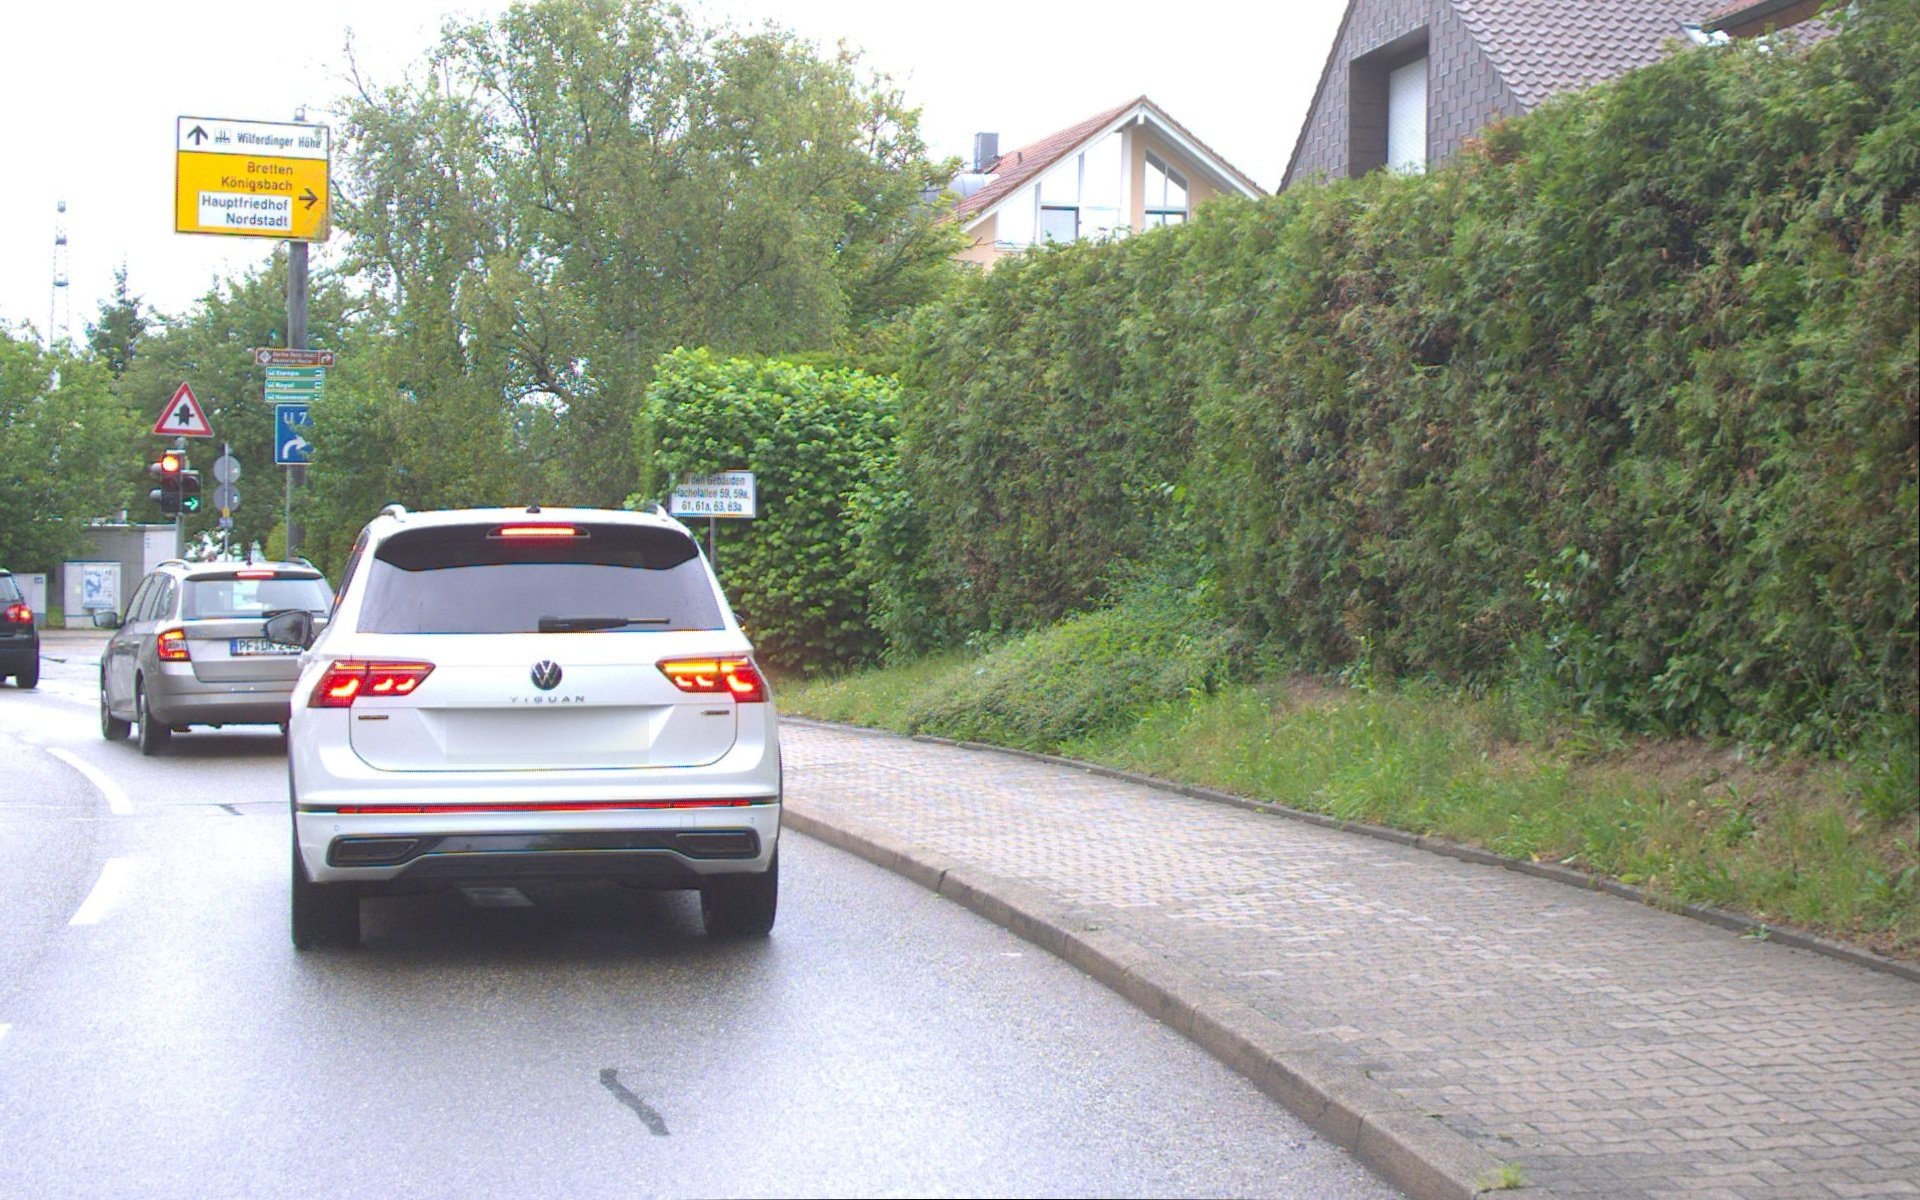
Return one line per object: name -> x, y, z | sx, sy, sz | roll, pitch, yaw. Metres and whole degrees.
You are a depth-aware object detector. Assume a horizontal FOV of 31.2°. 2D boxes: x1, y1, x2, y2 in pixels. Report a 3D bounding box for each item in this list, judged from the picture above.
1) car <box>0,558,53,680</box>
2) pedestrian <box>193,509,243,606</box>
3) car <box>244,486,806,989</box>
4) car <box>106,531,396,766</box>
car -> -12.303, 0.236, 41.947 | 1.850, 1.424, 4.001 | -1, 0, -23
pedestrian -> -15.803, -0.904, 73.198 | 0.799, 2.006, 0.850 | -2, 4, -29
car -> -1.849, 0.430, 14.102 | 1.920, 1.716, 4.266 | -1, 1, -9
car -> -5.674, 0.332, 27.179 | 1.764, 1.504, 4.002 | 3, 2, -18
